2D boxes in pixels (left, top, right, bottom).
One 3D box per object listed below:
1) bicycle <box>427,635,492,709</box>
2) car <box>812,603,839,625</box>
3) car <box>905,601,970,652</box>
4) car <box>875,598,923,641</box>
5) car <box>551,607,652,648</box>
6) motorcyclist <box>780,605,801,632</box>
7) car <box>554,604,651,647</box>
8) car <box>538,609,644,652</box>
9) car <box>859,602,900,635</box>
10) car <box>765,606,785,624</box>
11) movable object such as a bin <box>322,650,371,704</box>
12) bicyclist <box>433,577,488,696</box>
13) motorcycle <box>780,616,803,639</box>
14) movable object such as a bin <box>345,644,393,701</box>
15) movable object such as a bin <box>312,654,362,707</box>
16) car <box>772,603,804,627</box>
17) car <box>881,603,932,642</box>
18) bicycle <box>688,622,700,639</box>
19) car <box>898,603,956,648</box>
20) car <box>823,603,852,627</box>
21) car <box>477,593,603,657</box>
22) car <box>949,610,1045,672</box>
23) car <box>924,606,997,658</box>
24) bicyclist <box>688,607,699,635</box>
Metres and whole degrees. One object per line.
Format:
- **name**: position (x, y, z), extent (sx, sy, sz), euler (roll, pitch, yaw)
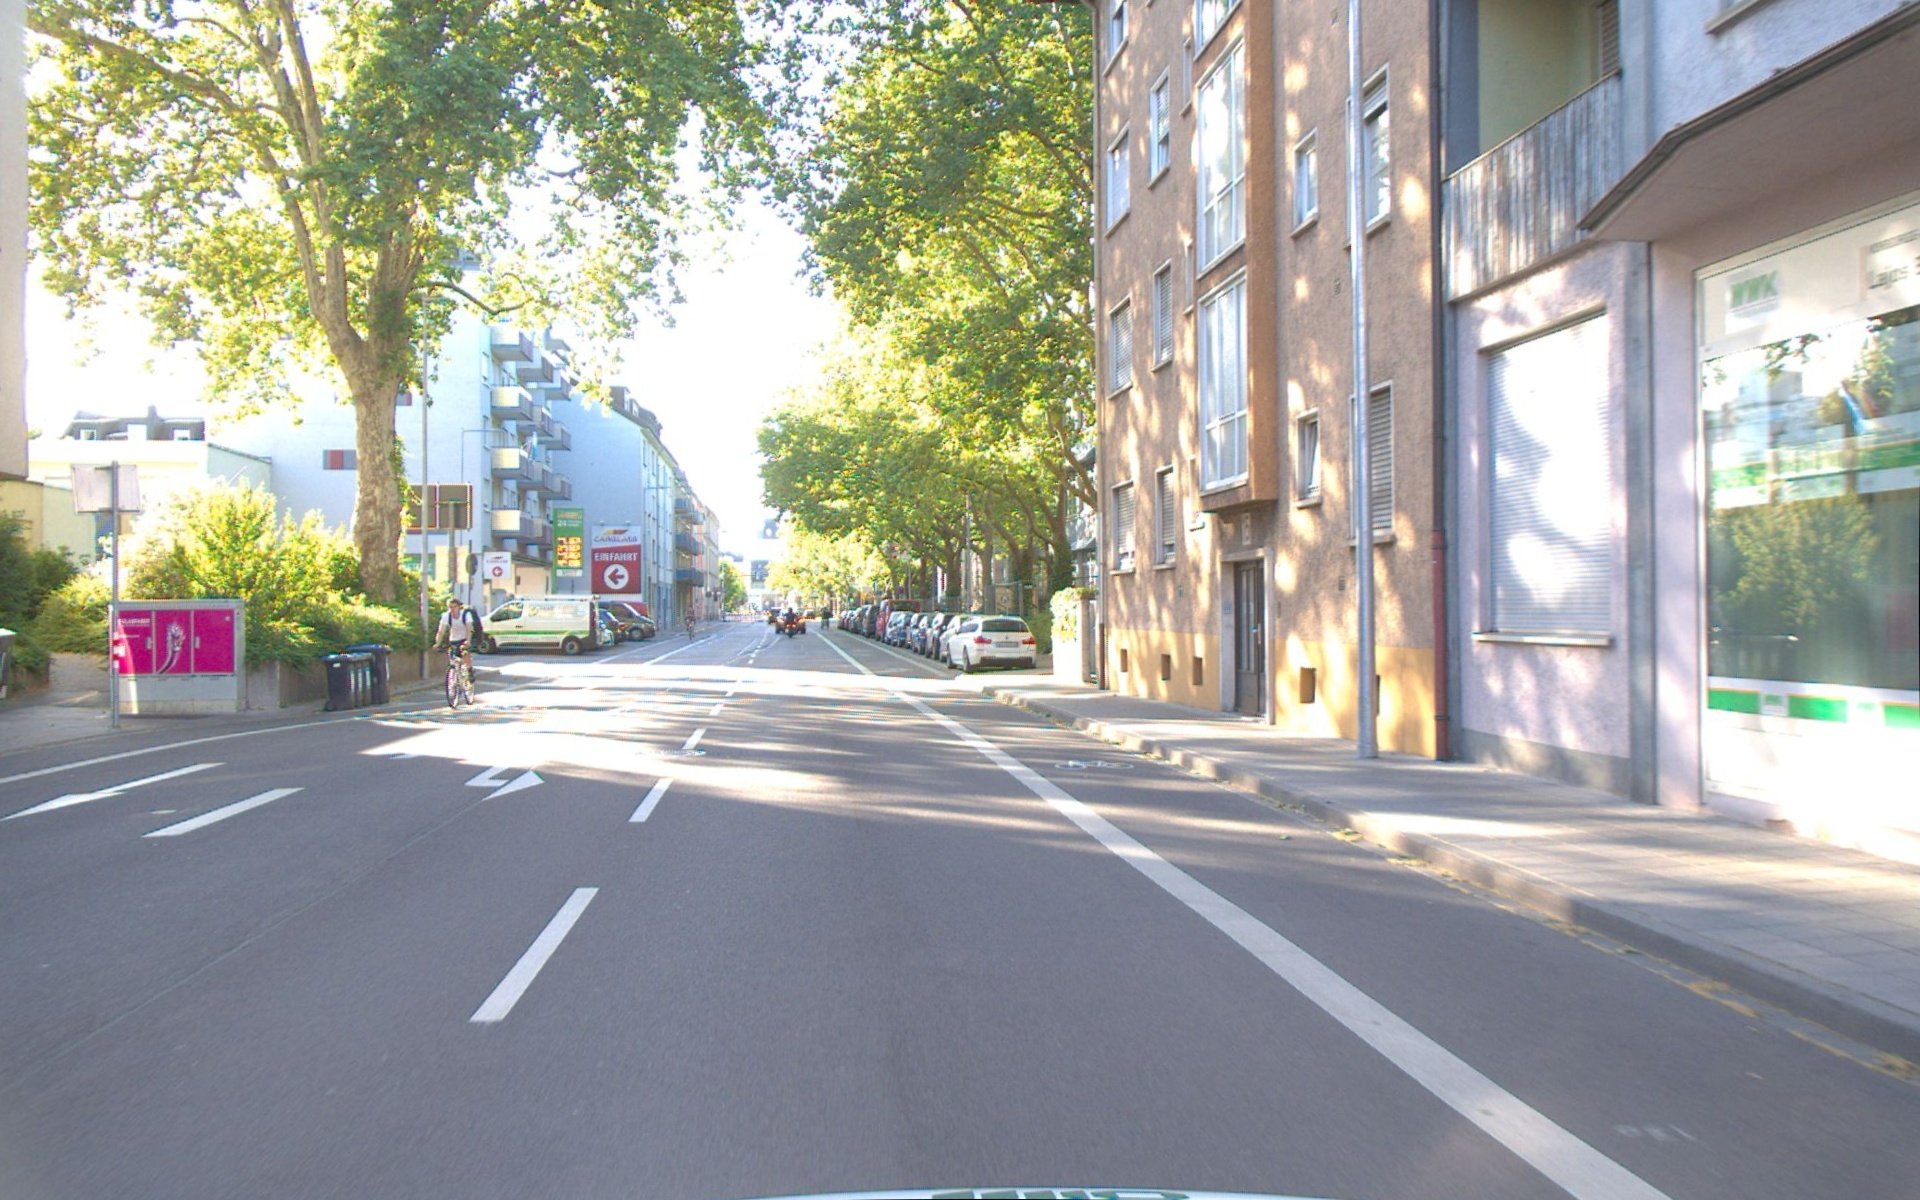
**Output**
- **bicycle**: position (-8.498, 1.195, 28.167), extent (0.801, 1.159, 2.332), euler (0, 0, -10)
- **car**: position (-10.934, 1.112, 134.217), extent (1.994, 1.773, 4.088), euler (0, 0, -7)
- **car**: position (-0.879, 0.959, 60.864), extent (1.994, 1.790, 4.088), euler (0, 0, -7)
- **car**: position (-2.972, 0.925, 80.058), extent (1.994, 1.968, 4.088), euler (0, 0, -7)
- **car**: position (-14.783, 1.130, 68.355), extent (3.913, 1.624, 1.996), euler (-1, 0, -9)
- **motorcyclist**: position (-8.973, 0.962, 87.581), extent (0.953, 1.370, 1.134), euler (1, 0, -13)
- **car**: position (-15.296, 1.073, 70.908), extent (3.913, 1.773, 1.996), euler (-1, 0, -9)
- **car**: position (-14.502, 1.177, 65.153), extent (3.913, 1.624, 1.996), euler (-1, 0, -9)
- **car**: position (-4.493, 0.989, 91.666), extent (1.994, 1.773, 4.088), euler (0, 0, -7)
- **car**: position (-18.410, 1.449, 164.525), extent (1.994, 1.773, 4.088), euler (-1, 0, -7)
- **movable object such as a bin**: position (-10.818, 1.354, 29.171), extent (0.673, 0.922, 0.578), euler (2, 0, -6)
- **bicyclist**: position (-8.513, 0.613, 28.227), extent (0.801, 1.982, 0.855), euler (0, 0, -11)
- **motorcycle**: position (-8.927, 1.446, 87.567), extent (0.955, 1.151, 2.798), euler (1, 0, -10)
- **movable object such as a bin**: position (-10.798, 1.320, 30.227), extent (0.689, 0.982, 0.596), euler (2, 0, -6)
- **movable object such as a bin**: position (-10.750, 1.386, 28.550), extent (0.673, 0.867, 0.578), euler (2, 0, -6)
- **car**: position (-10.577, 0.916, 101.692), extent (1.886, 1.413, 3.994), euler (0, 0, -6)
- **car**: position (-2.471, 1.016, 75.846), extent (1.994, 1.749, 4.088), euler (0, 0, -7)
- **bicycle**: position (-13.617, 1.548, 84.673), extent (0.532, 0.857, 1.600), euler (0, 0, -12)
- **car**: position (-1.368, 1.013, 66.979), extent (1.994, 1.749, 4.088), euler (0, 0, -7)
- **car**: position (-9.355, 1.145, 126.214), extent (1.994, 1.773, 4.088), euler (0, 0, -7)
- **car**: position (-15.199, 0.888, 60.049), extent (4.223, 2.265, 1.996), euler (0, 0, -9)
- **car**: position (0.933, 1.029, 43.643), extent (1.994, 1.531, 4.088), euler (0, 0, -7)
- **car**: position (-0.028, 1.019, 55.030), extent (1.994, 1.645, 4.088), euler (0, 0, -7)
- **bicyclist**: position (-13.635, 1.091, 84.755), extent (0.532, 1.418, 0.507), euler (0, 0, -12)
